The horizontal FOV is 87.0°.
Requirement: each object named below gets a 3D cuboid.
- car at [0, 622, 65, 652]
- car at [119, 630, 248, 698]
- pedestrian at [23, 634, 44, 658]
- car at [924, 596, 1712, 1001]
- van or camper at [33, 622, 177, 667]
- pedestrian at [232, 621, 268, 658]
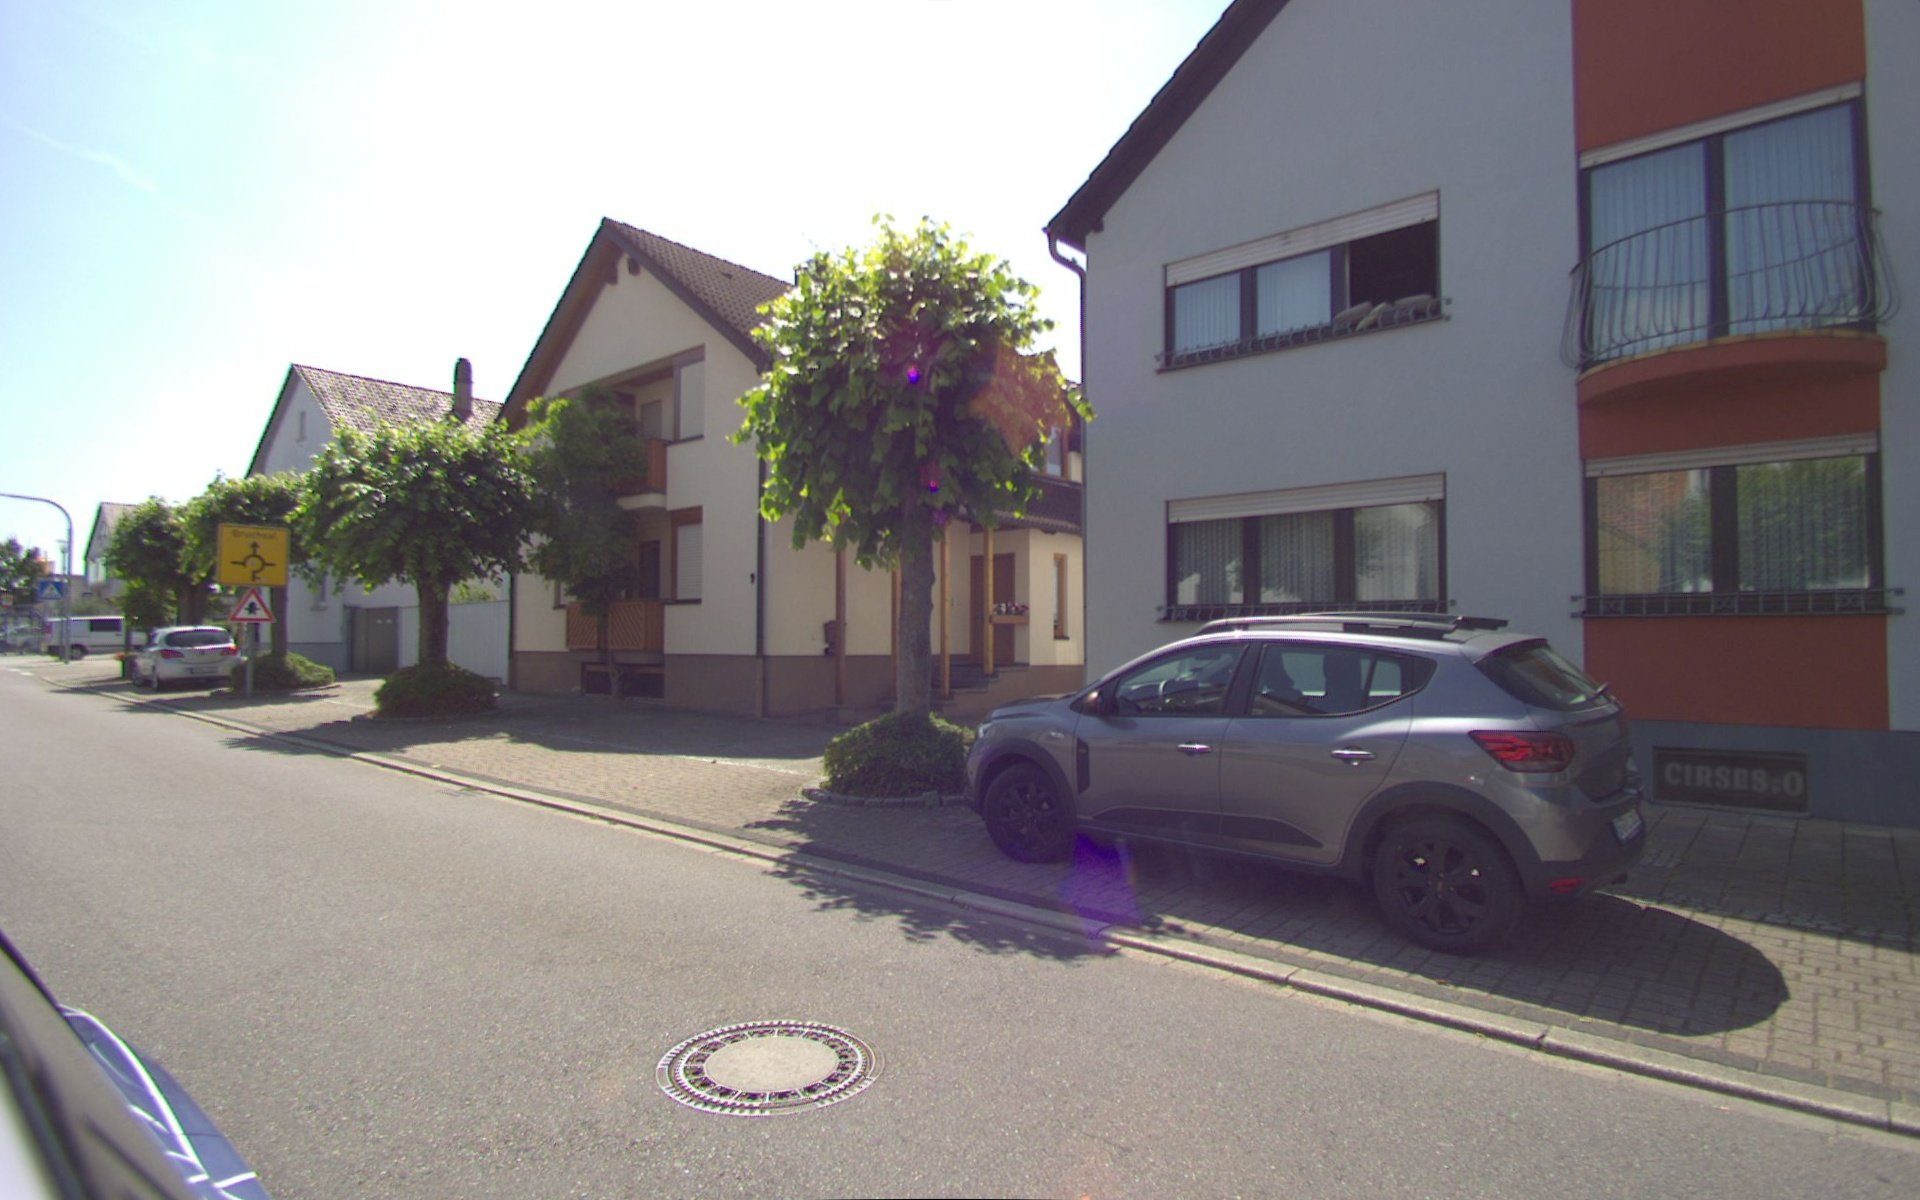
[{"bbox_3d":[-56.872,2.218,60.885,1.941,1.732,4.202,-1,-1,35],"label":"car"},{"bbox_3d":[-19.171,1.515,24.933,4.131,1.494,1.805,-2,-1,42],"label":"car"},{"bbox_3d":[-51.390,2.544,56.116,0.607,1.369,0.776,-2,-3,41],"label":"pedestrian"},{"bbox_3d":[1.886,0.845,6.171,4.135,1.625,1.832,-2,-1,43],"label":"car"},{"bbox_3d":[-38.210,1.951,45.338,1.998,1.877,4.692,-3,-2,40],"label":"van or camper"},{"bbox_3d":[-34.829,1.946,49.664,0.922,1.788,1.069,0,-2,4],"label":"pedestrian"}]
